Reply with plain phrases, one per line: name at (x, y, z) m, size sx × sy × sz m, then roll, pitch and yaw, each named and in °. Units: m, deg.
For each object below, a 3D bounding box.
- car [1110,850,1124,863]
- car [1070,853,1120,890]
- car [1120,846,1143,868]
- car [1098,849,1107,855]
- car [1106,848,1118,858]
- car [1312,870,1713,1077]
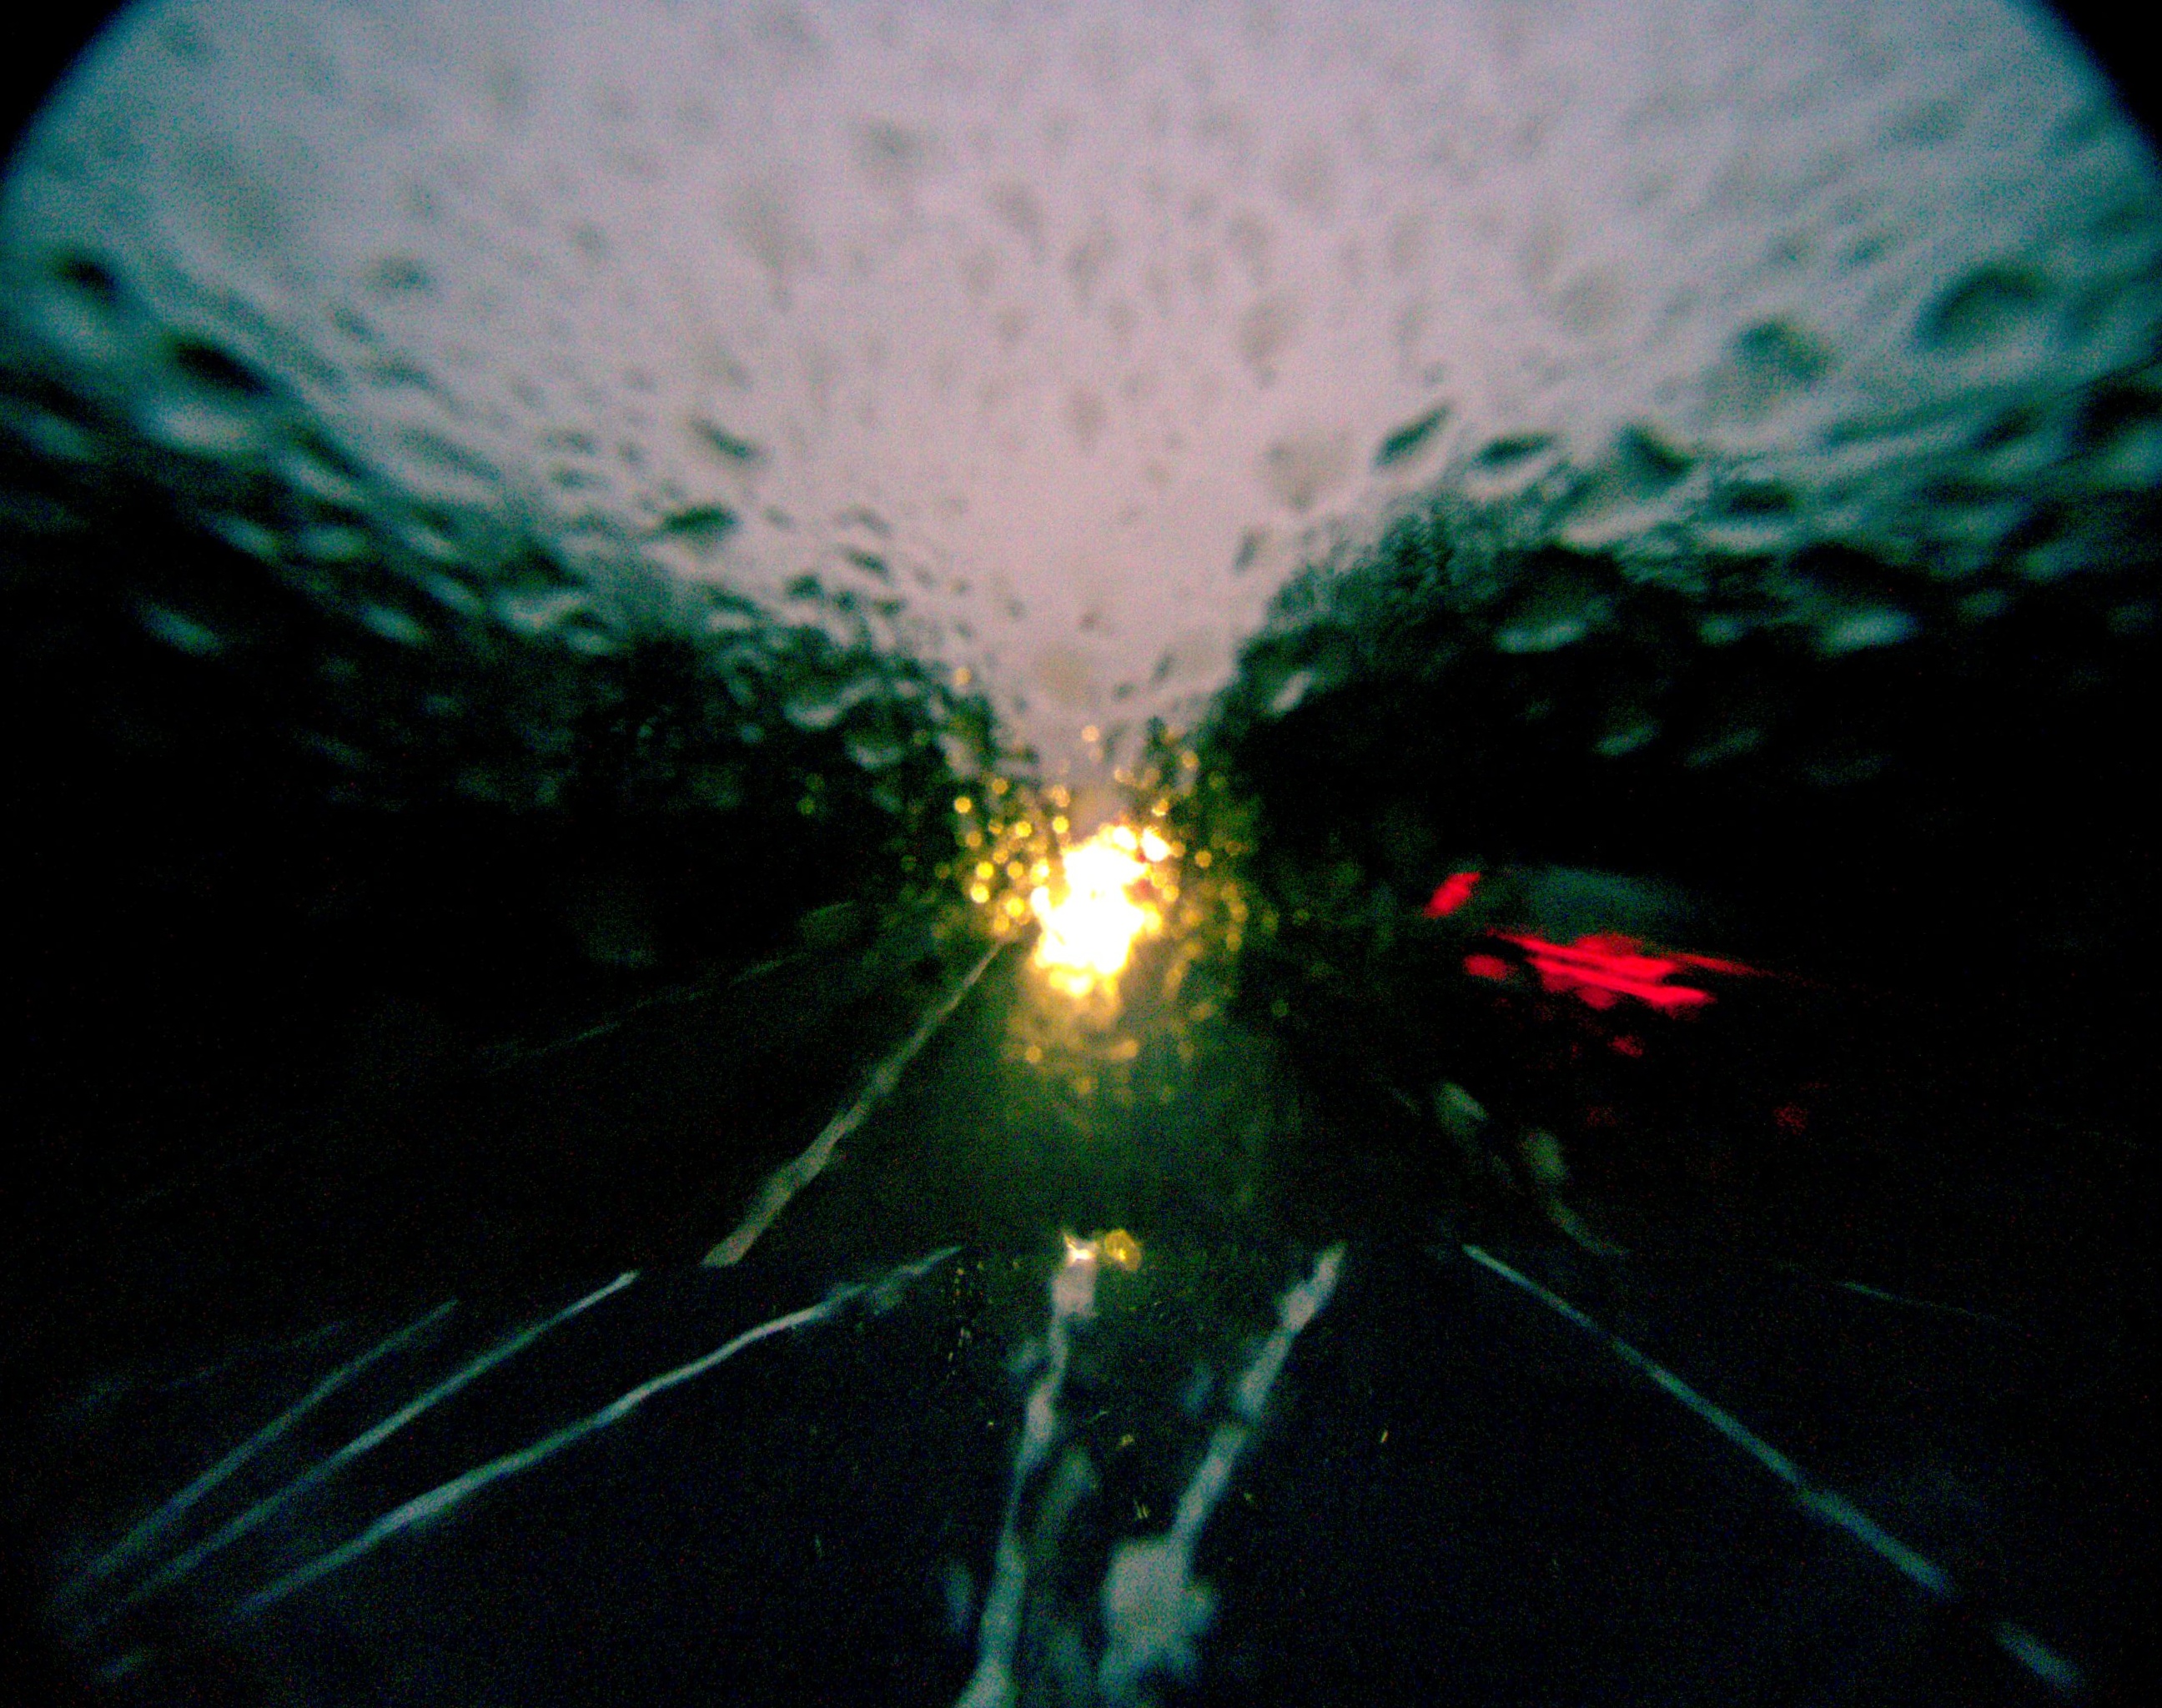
car at (4.394, 0.269, 92.896) m, size 1.585 × 1.542 × 3.999 m, roll -1°, pitch 1°, yaw 0°
car at (0.566, 0.659, 30.836) m, size 1.845 × 1.390 × 4.000 m, roll -1°, pitch 0°, yaw 1°
car at (4.241, 0.212, 64.260) m, size 1.710 × 1.812 × 4.285 m, roll -1°, pitch 1°, yaw 1°
car at (4.857, -0.468, 172.236) m, size 1.769 × 1.449 × 4.507 m, roll 0°, pitch 1°, yaw 0°
car at (5.092, -0.144, 125.529) m, size 1.745 × 1.626 × 3.999 m, roll -1°, pitch 1°, yaw 1°
car at (3.725, 0.900, 7.501) m, size 1.623 × 1.381 × 4.071 m, roll -1°, pitch 0°, yaw -1°
